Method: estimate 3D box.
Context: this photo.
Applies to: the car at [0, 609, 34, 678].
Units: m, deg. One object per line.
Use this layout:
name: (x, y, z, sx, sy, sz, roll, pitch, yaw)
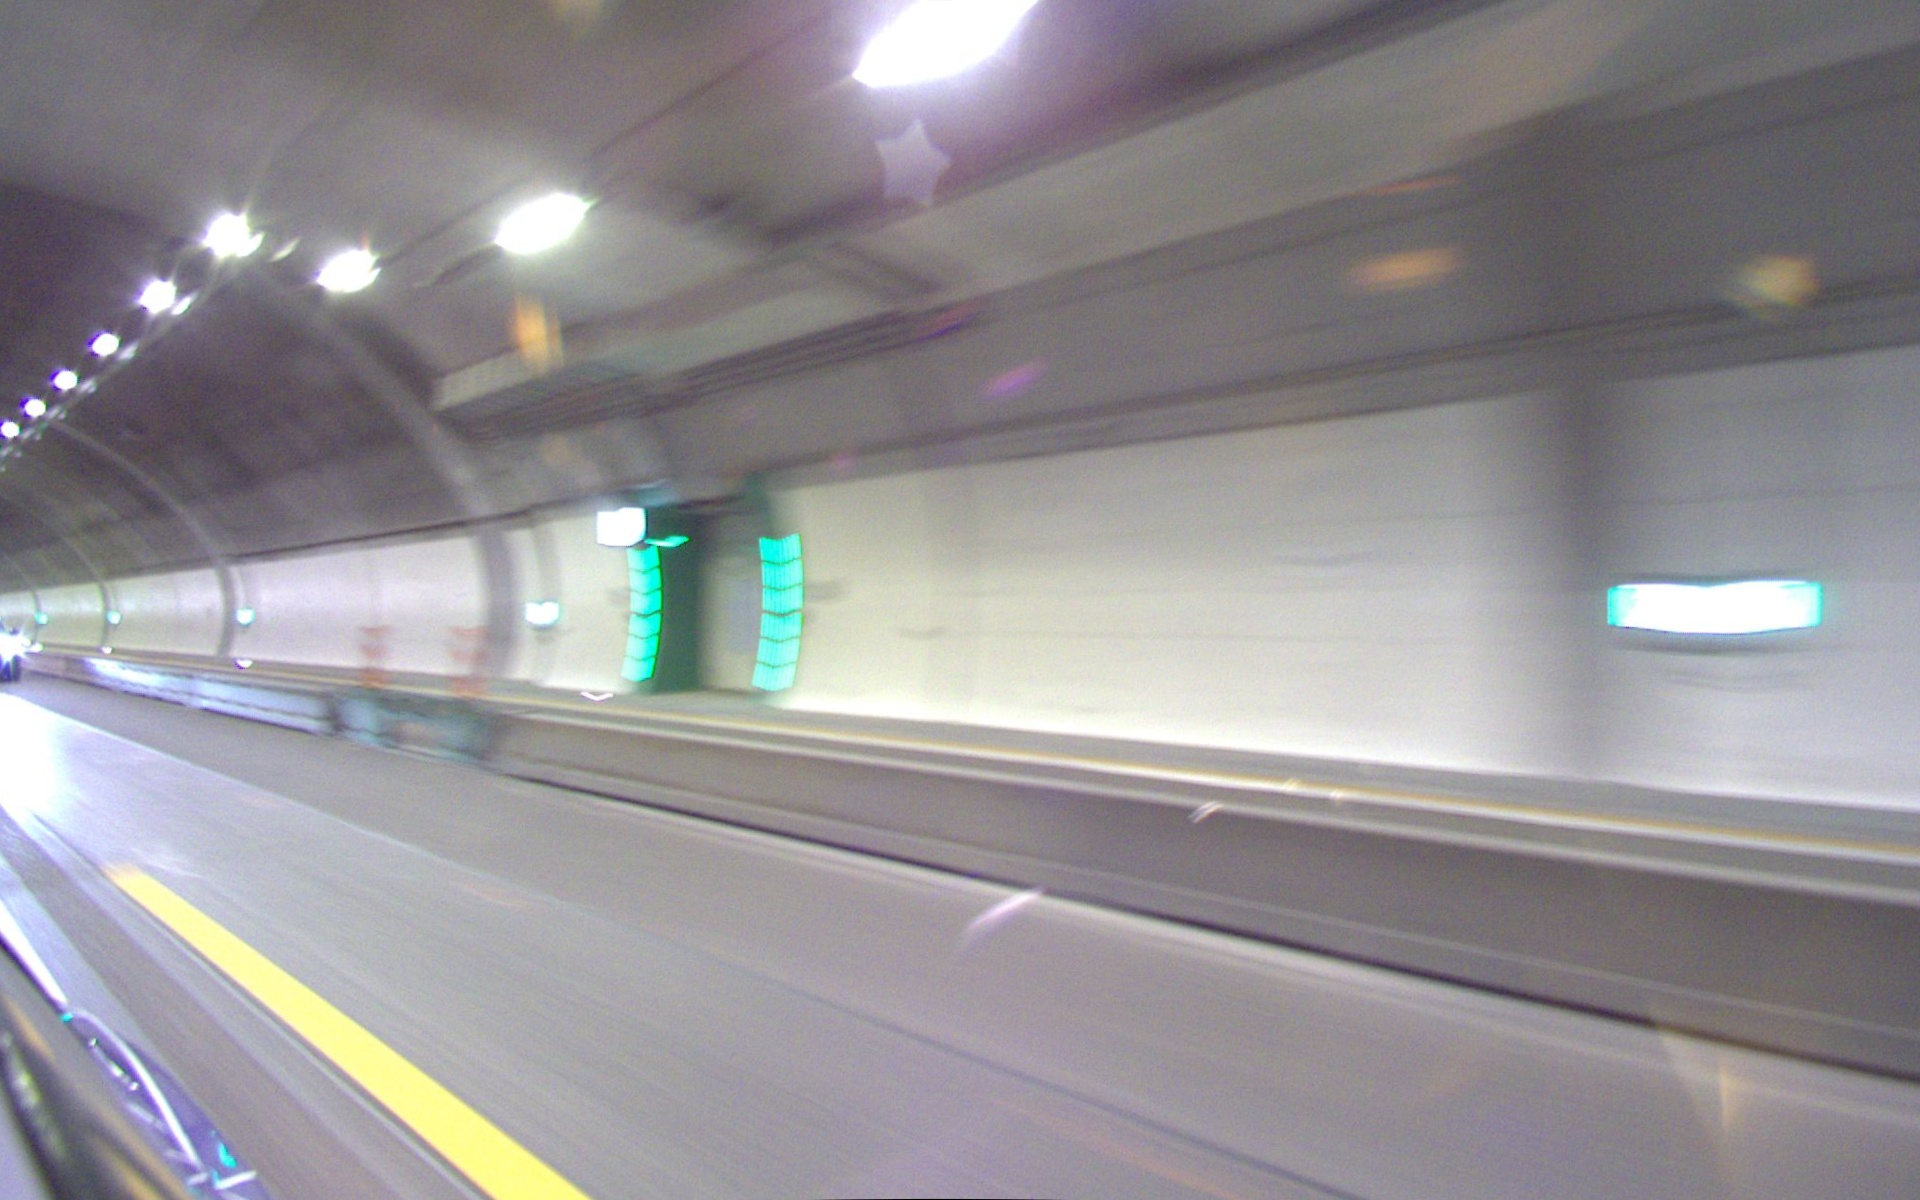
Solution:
car: (-23.695, 1.012, 24.001, 4.739, 1.552, 1.973, 0, 1, 40)
